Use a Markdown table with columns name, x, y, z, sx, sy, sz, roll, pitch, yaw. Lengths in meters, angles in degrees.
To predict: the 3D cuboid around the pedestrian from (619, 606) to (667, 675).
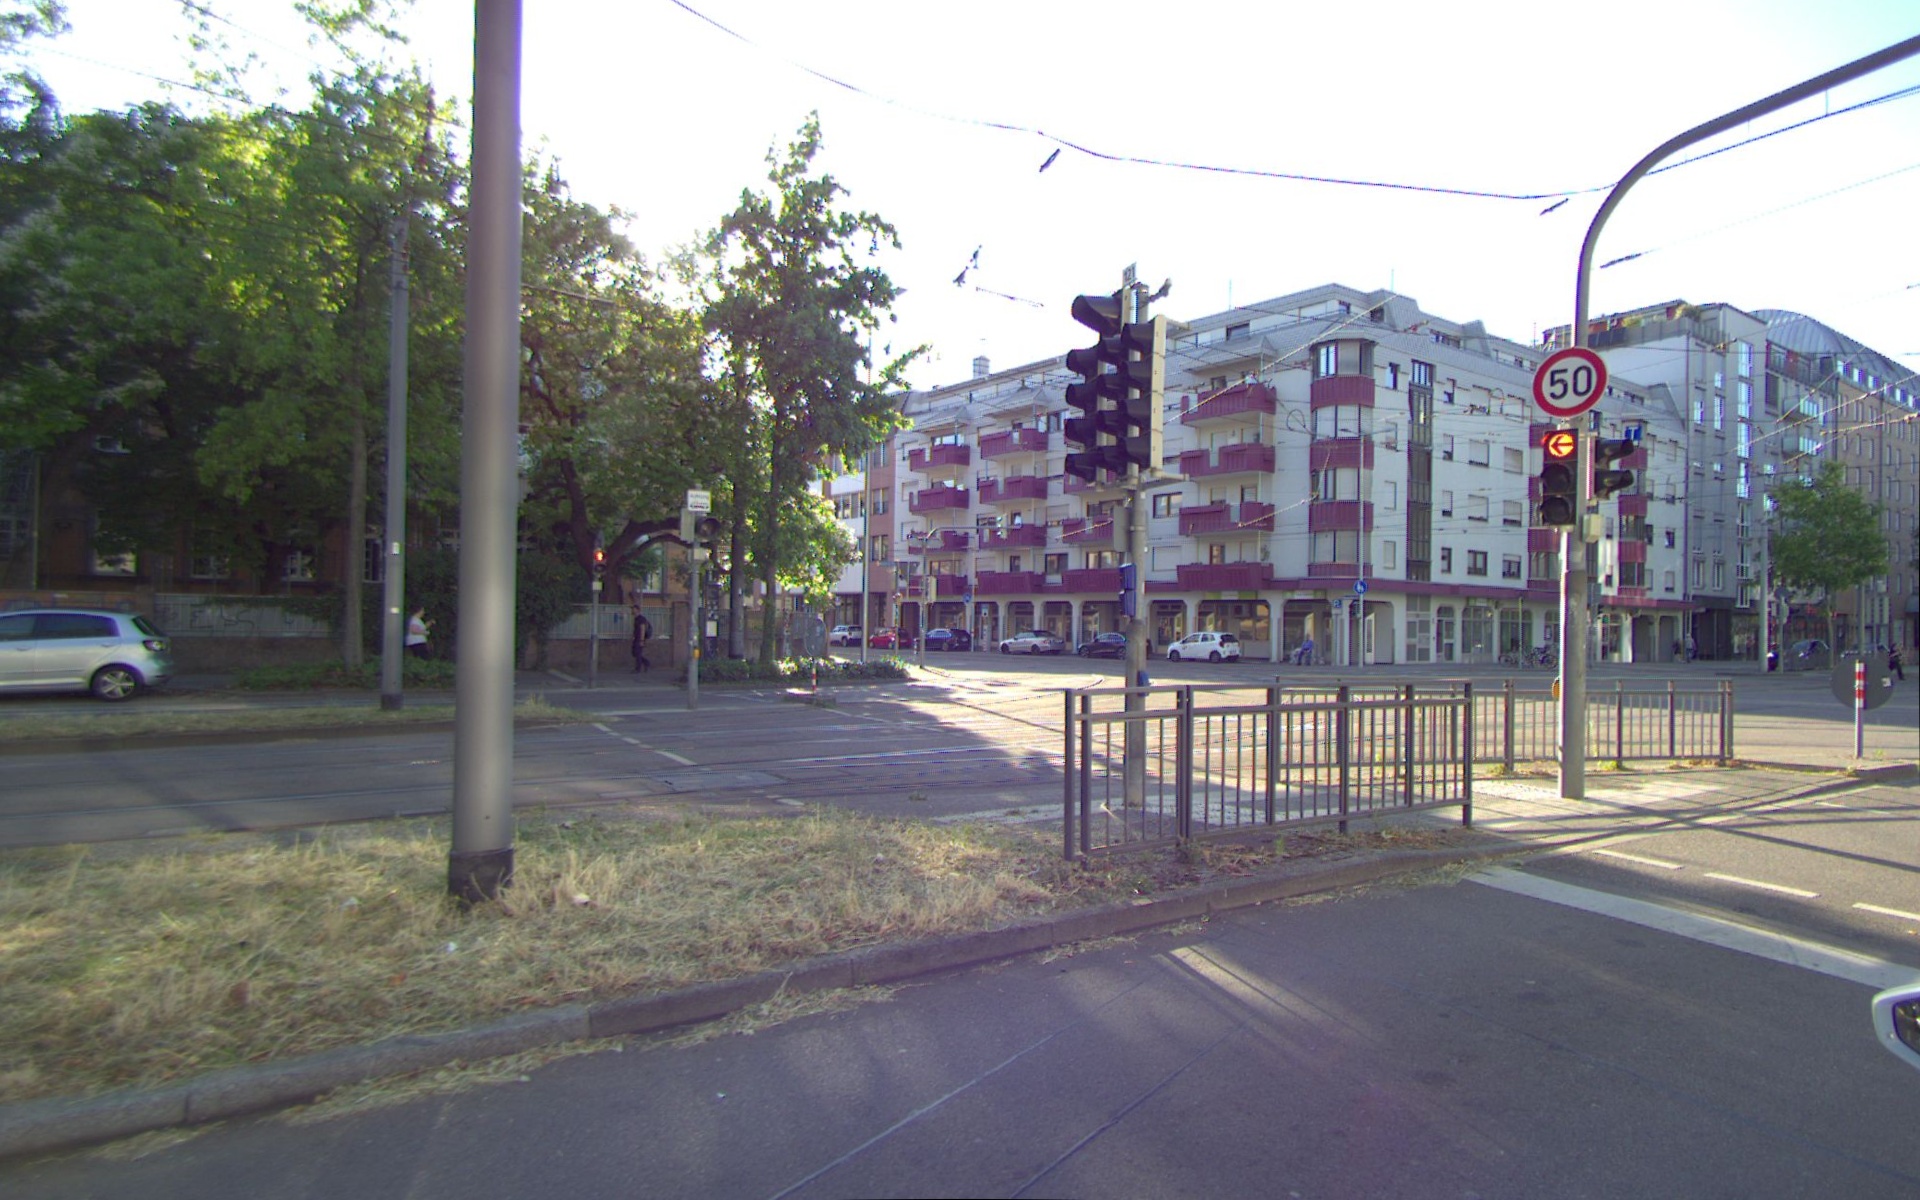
| name | x | y | z | sx | sy | sz | roll | pitch | yaw |
| --- | --- | --- | --- | --- | --- | --- | --- | --- | --- |
| pedestrian | -8.293 | 1.047 | 26.289 | 1.010 | 1.775 | 0.729 | 2 | -1 | -35 |

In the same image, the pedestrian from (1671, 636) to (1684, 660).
| name | x | y | z | sx | sy | sz | roll | pitch | yaw |
| --- | --- | --- | --- | --- | --- | --- | --- | --- | --- |
| pedestrian | 45.045 | 3.016 | 63.070 | 0.582 | 1.514 | 0.531 | 2 | -1 | -36 |

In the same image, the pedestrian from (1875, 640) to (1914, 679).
| name | x | y | z | sx | sy | sz | roll | pitch | yaw |
| --- | --- | --- | --- | --- | --- | --- | --- | --- | --- |
| pedestrian | 38.548 | 2.438 | 41.448 | 0.687 | 1.564 | 1.040 | 2 | -1 | -32 |

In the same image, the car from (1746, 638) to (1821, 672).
| name | x | y | z | sx | sy | sz | roll | pitch | yaw |
| --- | --- | --- | --- | --- | --- | --- | --- | --- | --- |
| car | 43.888 | 2.890 | 53.516 | 4.215 | 1.695 | 1.943 | 2 | -1 | -33 |

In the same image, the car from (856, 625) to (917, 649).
| name | x | y | z | sx | sy | sz | roll | pitch | yaw |
| --- | --- | --- | --- | --- | --- | --- | --- | --- | --- |
| car | -5.121 | 2.517 | 69.495 | 1.984 | 1.576 | 4.531 | 2 | -2 | -40 |

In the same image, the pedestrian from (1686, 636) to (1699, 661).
| name | x | y | z | sx | sy | sz | roll | pitch | yaw |
| --- | --- | --- | --- | --- | --- | --- | --- | --- | --- |
| pedestrian | 45.578 | 3.030 | 62.489 | 0.582 | 1.514 | 0.531 | 2 | -1 | -36 |

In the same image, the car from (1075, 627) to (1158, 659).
| name | x | y | z | sx | sy | sz | roll | pitch | yaw |
| --- | --- | --- | --- | --- | --- | --- | --- | --- | --- |
| car | 8.275 | 2.264 | 53.380 | 1.984 | 1.576 | 4.075 | 2 | -2 | -40 |

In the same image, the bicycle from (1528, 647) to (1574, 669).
| name | x | y | z | sx | sy | sz | roll | pitch | yaw |
| --- | --- | --- | --- | --- | --- | --- | --- | --- | --- |
| bicycle | 28.356 | 2.787 | 48.212 | 0.547 | 0.998 | 1.831 | 2 | -2 | -34 |

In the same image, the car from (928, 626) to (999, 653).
| name | x | y | z | sx | sy | sz | roll | pitch | yaw |
| --- | --- | --- | --- | --- | --- | --- | --- | --- | --- |
| car | 0.190 | 2.483 | 63.318 | 1.984 | 1.576 | 4.531 | 2 | -2 | -40 |

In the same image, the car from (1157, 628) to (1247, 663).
| name | x | y | z | sx | sy | sz | roll | pitch | yaw |
| --- | --- | --- | --- | --- | --- | --- | --- | --- | --- |
| car | 11.862 | 2.207 | 49.398 | 1.984 | 1.576 | 3.953 | 2 | -2 | -40 |

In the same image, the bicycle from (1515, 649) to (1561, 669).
| name | x | y | z | sx | sy | sz | roll | pitch | yaw |
| --- | --- | --- | --- | --- | --- | --- | --- | --- | --- |
| bicycle | 27.317 | 2.790 | 47.496 | 0.547 | 0.865 | 1.834 | 2 | -2 | -30 |

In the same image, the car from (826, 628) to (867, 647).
| name | x | y | z | sx | sy | sz | roll | pitch | yaw |
| --- | --- | --- | --- | --- | --- | --- | --- | --- | --- |
| car | -8.267 | 2.726 | 73.146 | 1.448 | 1.351 | 3.146 | 2 | -2 | -39 |

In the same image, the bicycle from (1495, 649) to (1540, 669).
| name | x | y | z | sx | sy | sz | roll | pitch | yaw |
| --- | --- | --- | --- | --- | --- | --- | --- | --- | --- |
| bicycle | 26.403 | 2.792 | 47.610 | 0.547 | 0.865 | 1.834 | 2 | -2 | -30 |

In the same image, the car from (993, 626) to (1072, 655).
| name | x | y | z | sx | sy | sz | roll | pitch | yaw |
| --- | --- | --- | --- | --- | --- | --- | --- | --- | --- |
| car | 4.172 | 2.303 | 58.126 | 1.984 | 1.576 | 4.531 | 2 | -2 | -40 |

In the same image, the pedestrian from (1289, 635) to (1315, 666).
| name | x | y | z | sx | sy | sz | roll | pitch | yaw |
| --- | --- | --- | --- | --- | --- | --- | --- | --- | --- |
| pedestrian | 15.821 | 2.312 | 46.470 | 0.831 | 1.402 | 0.848 | 2 | -2 | -43 |

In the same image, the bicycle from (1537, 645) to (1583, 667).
| name | x | y | z | sx | sy | sz | roll | pitch | yaw |
| --- | --- | --- | --- | --- | --- | --- | --- | --- | --- |
| bicycle | 28.922 | 2.704 | 48.443 | 0.547 | 0.998 | 1.831 | 2 | -2 | -34 |

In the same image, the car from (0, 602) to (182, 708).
| name | x | y | z | sx | sy | sz | roll | pitch | yaw |
| --- | --- | --- | --- | --- | --- | --- | --- | --- | --- |
| car | -16.080 | 0.914 | 17.338 | 4.059 | 1.641 | 2.067 | 2 | 1 | -36 |

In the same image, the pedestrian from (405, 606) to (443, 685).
| name | x | y | z | sx | sy | sz | roll | pitch | yaw |
| --- | --- | --- | --- | --- | --- | --- | --- | --- | --- |
| pedestrian | -11.812 | 0.989 | 22.129 | 0.625 | 1.687 | 0.564 | 2 | 1 | -35 |
